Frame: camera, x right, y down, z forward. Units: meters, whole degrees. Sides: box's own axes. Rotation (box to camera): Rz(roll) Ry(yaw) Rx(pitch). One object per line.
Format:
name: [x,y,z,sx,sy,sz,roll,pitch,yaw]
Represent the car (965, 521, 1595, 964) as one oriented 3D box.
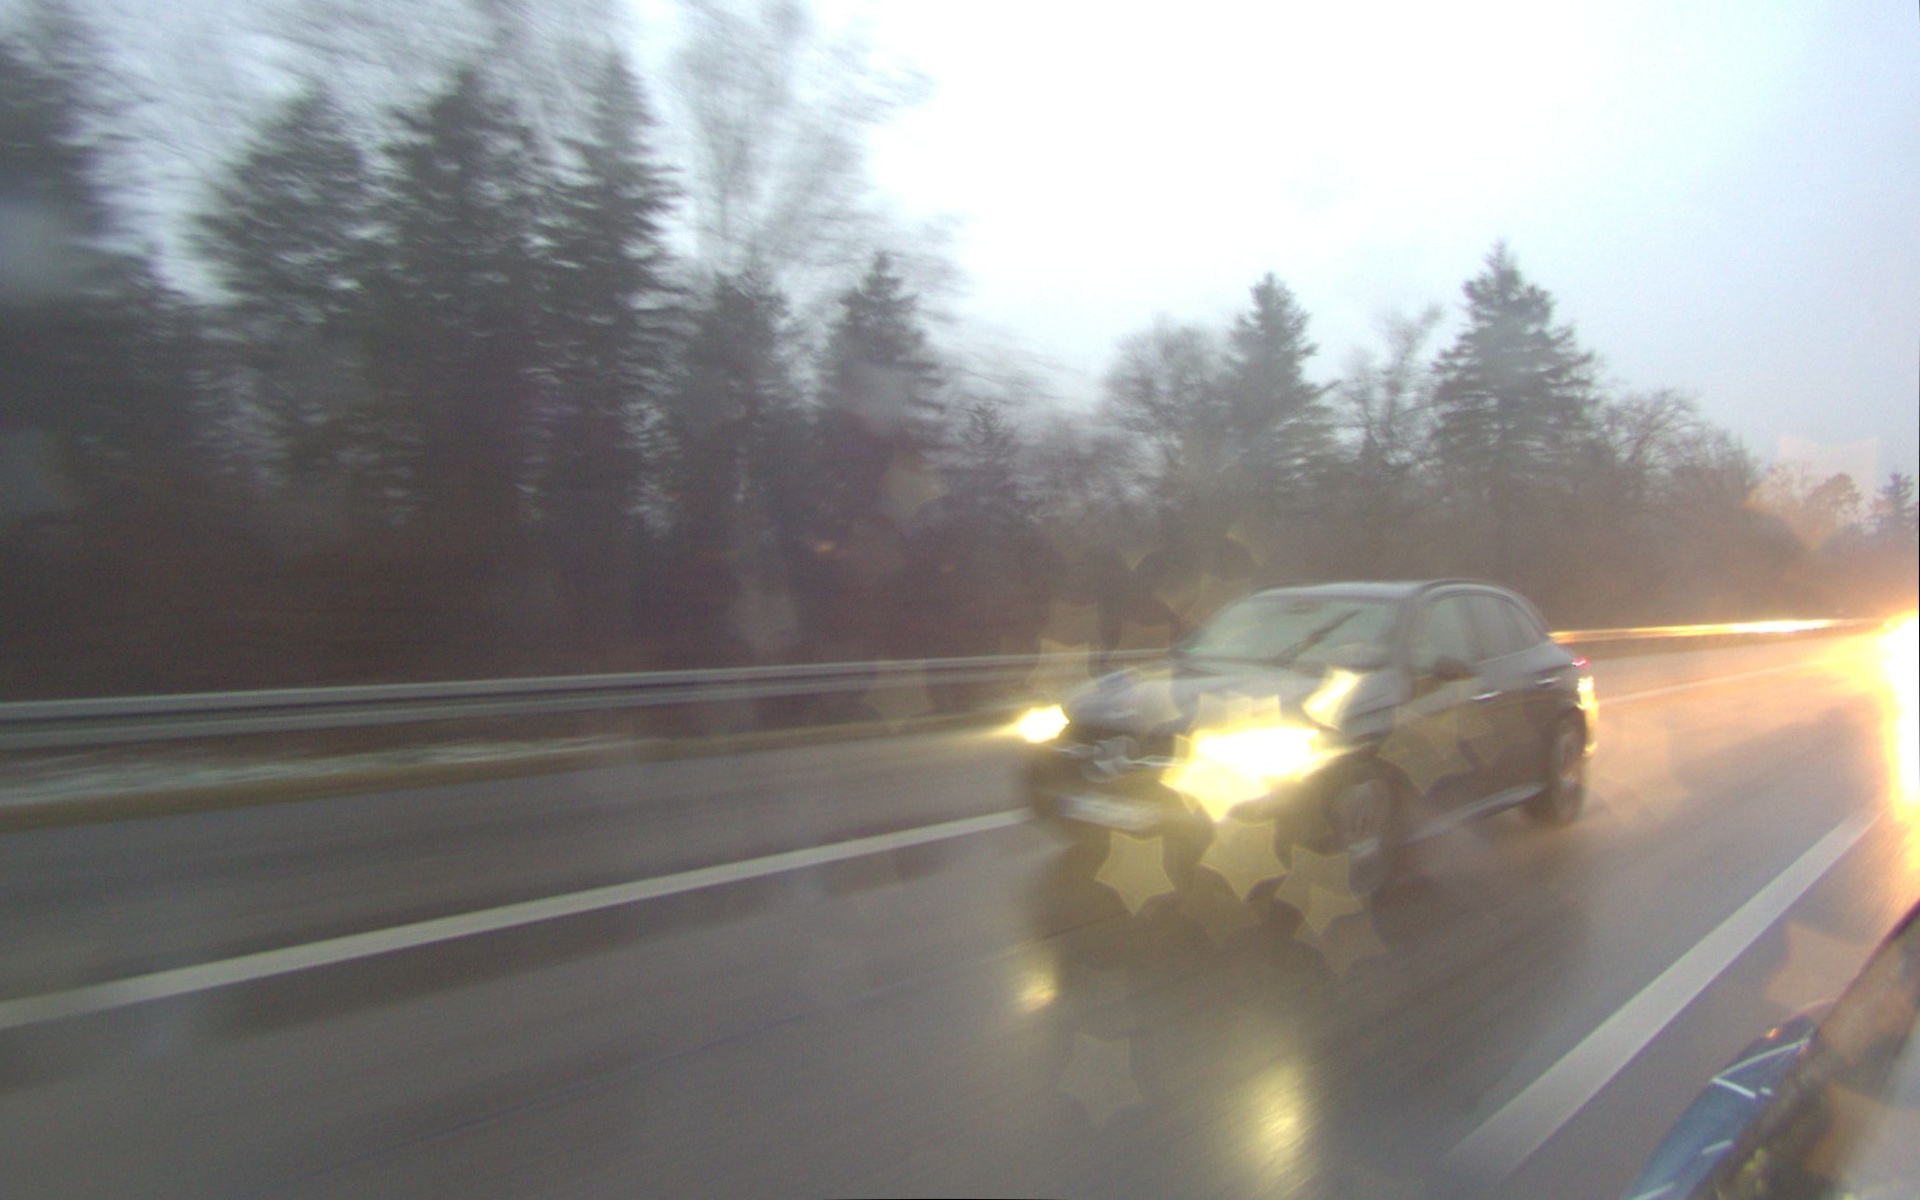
car: [2.110,0.560,6.152,3.872,1.814,1.927,-1,0,-41]
